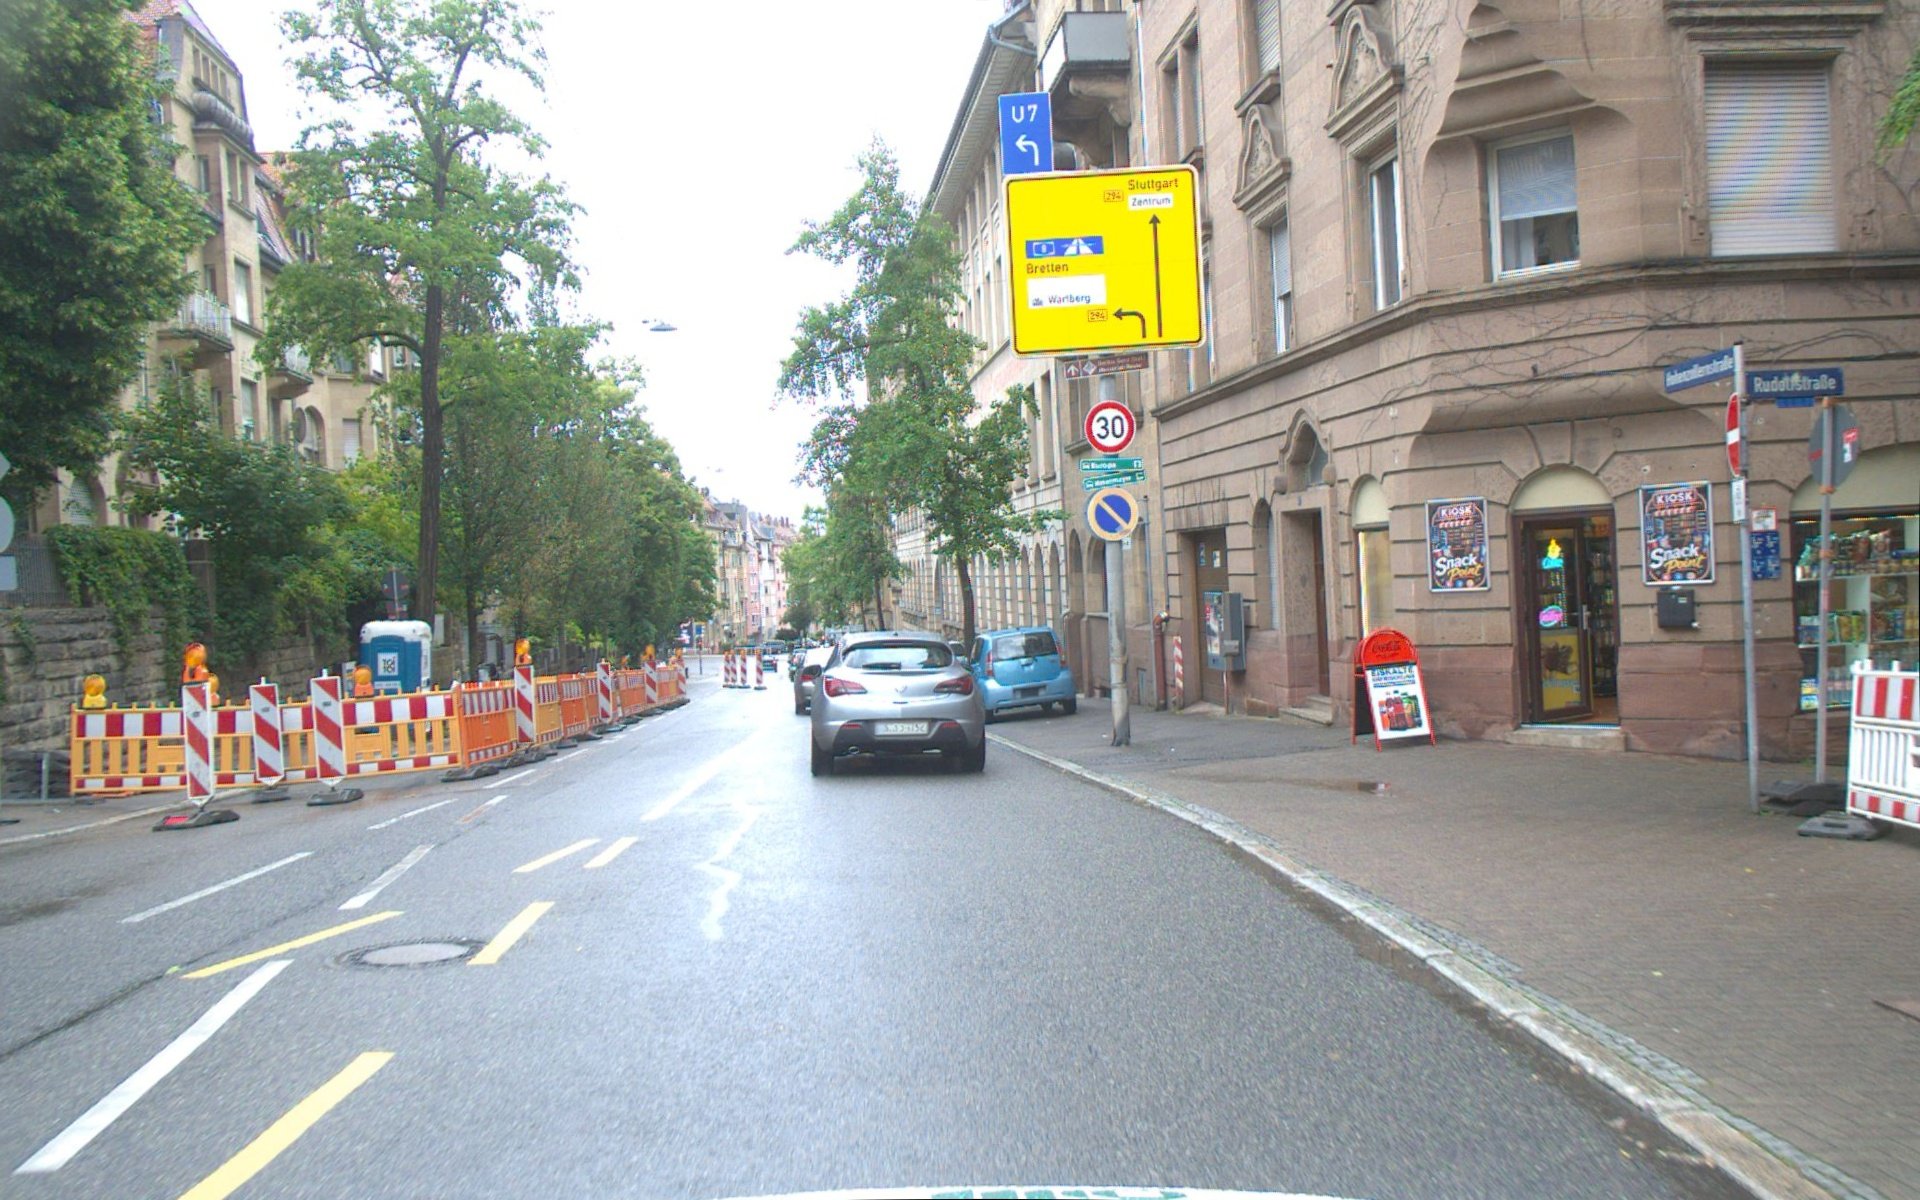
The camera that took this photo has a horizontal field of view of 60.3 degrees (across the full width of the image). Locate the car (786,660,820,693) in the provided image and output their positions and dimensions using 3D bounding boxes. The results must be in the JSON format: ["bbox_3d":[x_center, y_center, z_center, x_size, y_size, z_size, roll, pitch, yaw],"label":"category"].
[{"bbox_3d":[-8.331,4.053,87.467,1.625,1.569,3.659,-5,-2,-7],"label":"car"}]

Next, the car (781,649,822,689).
[{"bbox_3d":[-6.976,3.035,72.645,1.625,1.569,3.659,-5,-2,-7],"label":"car"}]

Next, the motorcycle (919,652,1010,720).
[{"bbox_3d":[0.107,1.826,35.236,1.923,1.257,0.647,-4,-1,-43],"label":"motorcycle"}]

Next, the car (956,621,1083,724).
[{"bbox_3d":[0.989,1.286,29.426,1.625,1.569,3.659,-5,-2,-7],"label":"car"}]

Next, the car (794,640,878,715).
[{"bbox_3d":[-2.762,1.686,36.698,1.737,1.531,3.865,-1,-2,-5],"label":"car"}]

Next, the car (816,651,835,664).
[{"bbox_3d":[-18.366,7.872,225.902,1.951,1.714,4.001,-1,-3,4],"label":"car"}]

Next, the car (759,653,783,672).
[{"bbox_3d":[-17.063,5.651,148.950,1.957,1.527,3.991,-2,-2,-9],"label":"car"}]

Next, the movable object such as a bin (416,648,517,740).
[{"bbox_3d":[-13.617,2.560,45.791,1.954,2.339,2.813,-3,-2,-3],"label":"movable object such as a bin"}]

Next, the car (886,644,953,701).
[{"bbox_3d":[-1.279,2.229,50.988,1.608,1.546,3.177,-5,-2,-7],"label":"car"}]

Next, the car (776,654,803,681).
[{"bbox_3d":[-11.012,4.379,106.727,1.625,1.569,3.659,-5,-2,-7],"label":"car"}]

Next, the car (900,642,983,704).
[{"bbox_3d":[-0.562,2.001,45.443,1.664,1.456,4.414,-5,-2,-7],"label":"car"}]

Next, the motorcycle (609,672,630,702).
[{"bbox_3d":[-16.014,4.112,77.759,0.751,1.369,2.200,-1,-3,-6],"label":"motorcycle"}]

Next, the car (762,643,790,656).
[{"bbox_3d":[-25.603,6.851,230.433,3.910,1.781,1.997,0,-3,-7],"label":"car"}]

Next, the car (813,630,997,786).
[{"bbox_3d":[-0.675,1.116,18.191,1.775,1.475,3.865,-1,-2,-4],"label":"car"}]
